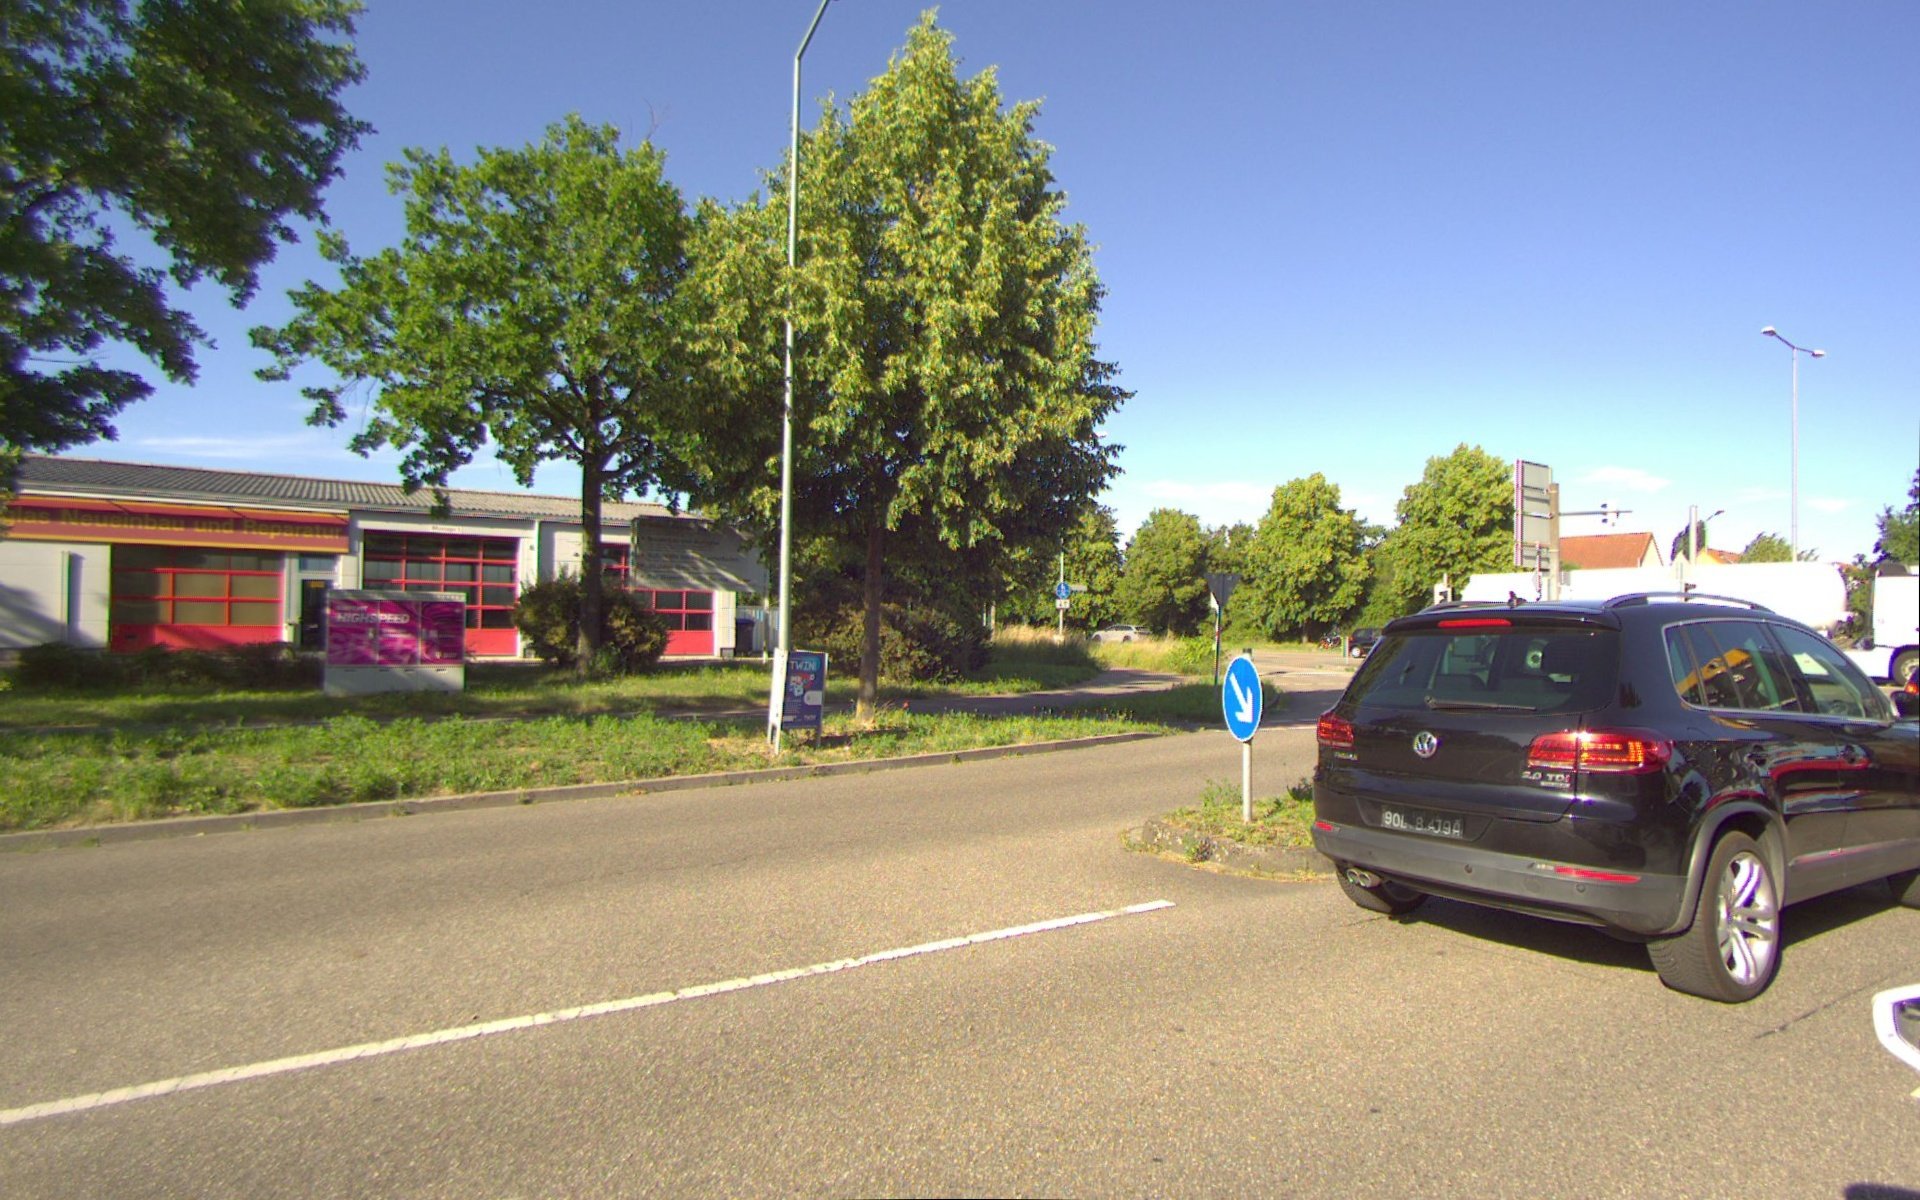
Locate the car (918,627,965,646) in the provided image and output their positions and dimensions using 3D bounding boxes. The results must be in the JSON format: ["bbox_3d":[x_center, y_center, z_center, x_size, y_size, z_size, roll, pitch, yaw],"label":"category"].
[{"bbox_3d":[-1.646,3.193,88.970,1.979,1.560,4.675,2,-1,-33],"label":"car"}]

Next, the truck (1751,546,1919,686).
[{"bbox_3d":[25.931,0.470,28.698,2.386,3.744,4.772,1,-1,-34],"label":"truck"}]

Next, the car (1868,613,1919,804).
[{"bbox_3d":[10.279,0.933,9.221,3.985,1.642,1.746,0,-1,-30],"label":"car"}]

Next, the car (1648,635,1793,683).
[{"bbox_3d":[31.893,2.437,42.235,1.982,1.737,4.493,2,-1,-37],"label":"car"}]

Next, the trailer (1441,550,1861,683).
[{"bbox_3d":[22.324,0.545,33.565,2.375,3.745,11.385,1,-1,-39],"label":"trailer"}]

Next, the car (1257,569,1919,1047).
[{"bbox_3d":[3.670,0.844,5.387,3.957,1.695,1.812,2,-3,-31],"label":"car"}]

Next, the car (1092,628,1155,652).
[{"bbox_3d":[11.422,2.815,70.569,1.562,1.479,4.375,2,-1,-40],"label":"car"}]

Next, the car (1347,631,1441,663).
[{"bbox_3d":[20.509,2.204,47.600,1.494,1.330,3.817,2,-1,-38],"label":"car"}]
